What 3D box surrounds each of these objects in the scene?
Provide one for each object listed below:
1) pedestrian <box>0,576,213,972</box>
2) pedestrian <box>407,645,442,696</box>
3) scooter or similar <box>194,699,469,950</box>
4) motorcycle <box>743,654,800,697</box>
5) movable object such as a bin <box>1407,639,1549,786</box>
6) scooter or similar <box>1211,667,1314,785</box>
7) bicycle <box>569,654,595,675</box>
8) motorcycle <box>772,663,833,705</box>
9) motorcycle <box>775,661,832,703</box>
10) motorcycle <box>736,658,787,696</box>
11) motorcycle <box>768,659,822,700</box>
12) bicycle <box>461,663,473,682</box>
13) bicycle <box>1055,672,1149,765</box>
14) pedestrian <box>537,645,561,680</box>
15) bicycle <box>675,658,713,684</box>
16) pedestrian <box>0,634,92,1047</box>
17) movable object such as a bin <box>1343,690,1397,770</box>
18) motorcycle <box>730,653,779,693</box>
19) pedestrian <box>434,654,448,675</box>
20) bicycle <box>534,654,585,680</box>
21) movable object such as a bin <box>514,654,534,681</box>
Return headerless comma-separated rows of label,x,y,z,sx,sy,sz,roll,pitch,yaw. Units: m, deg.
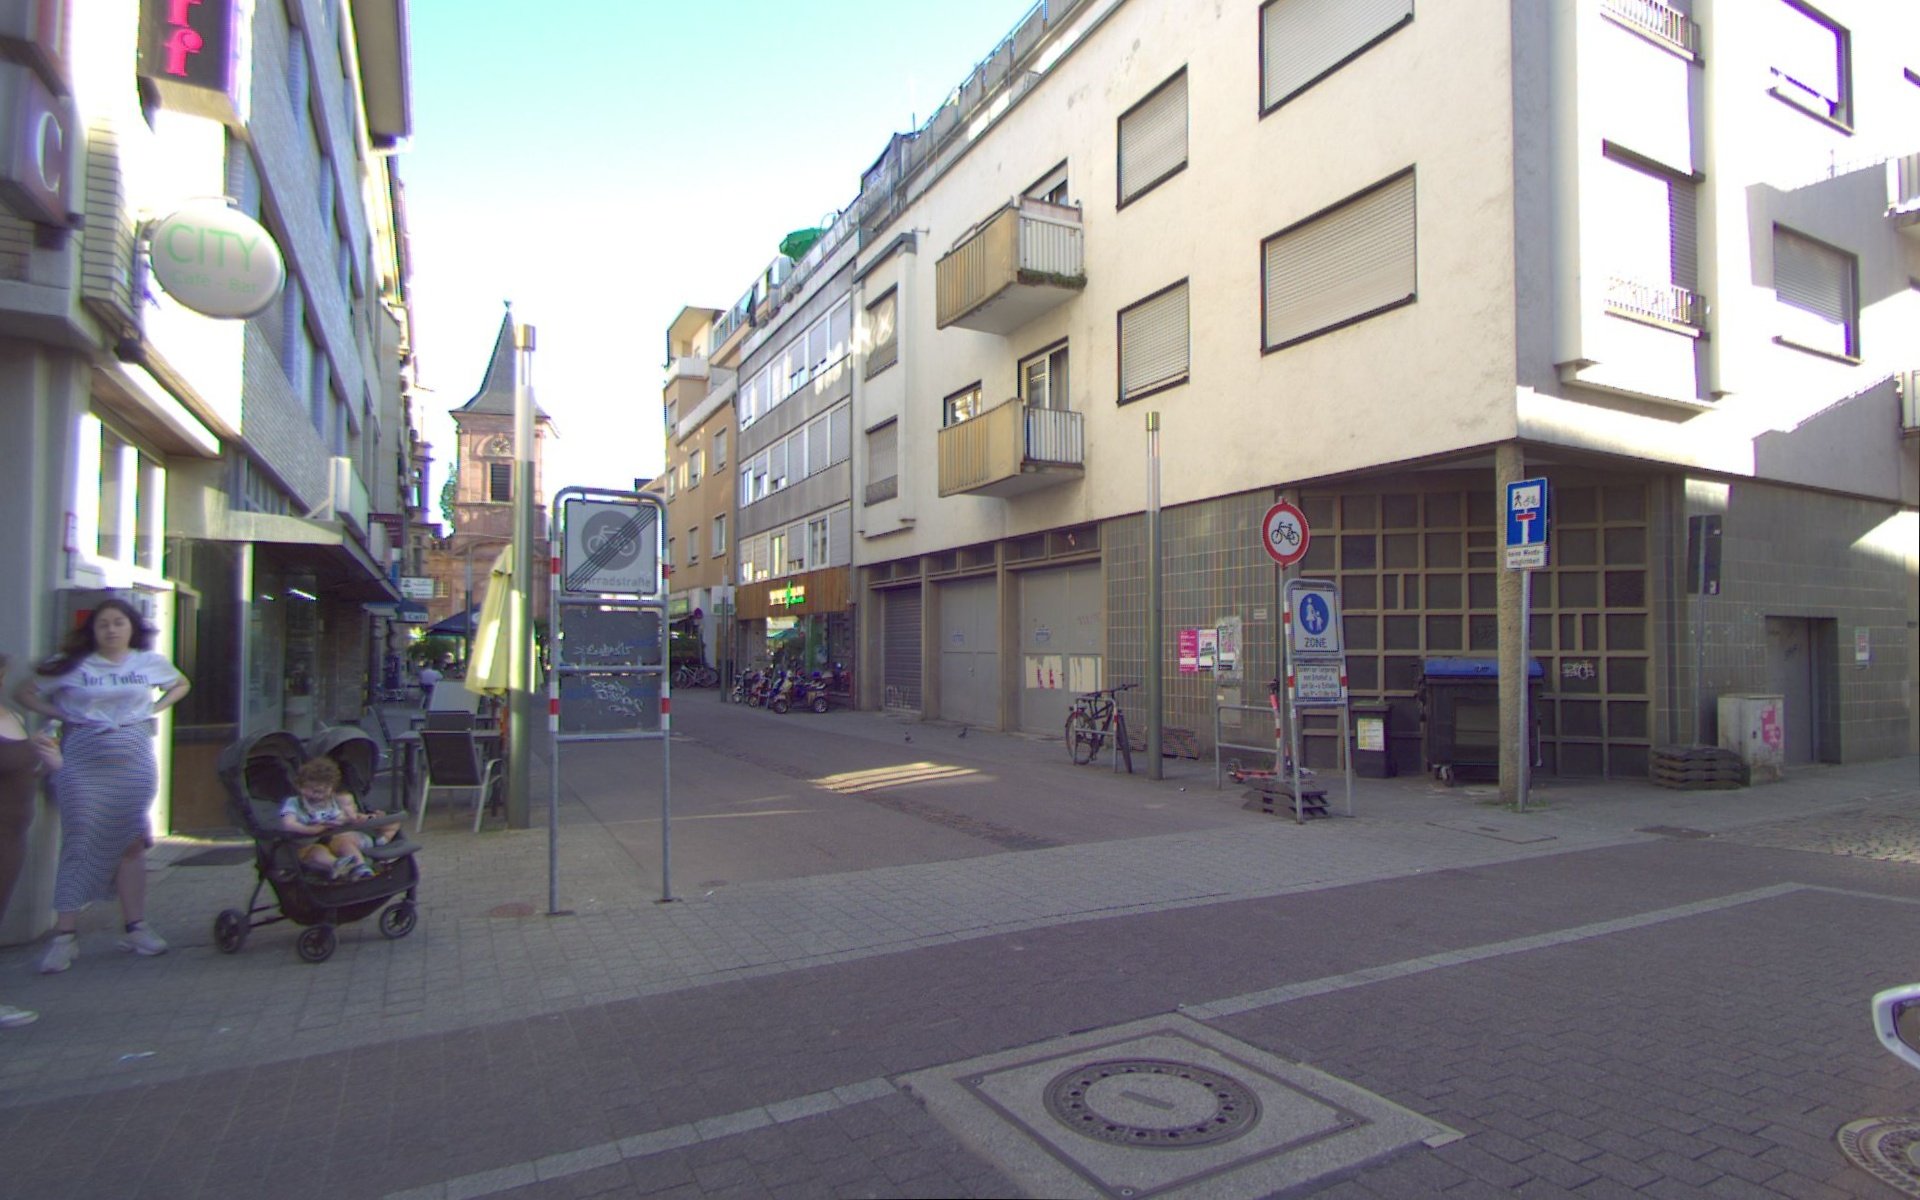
pedestrian,-4.322,0.813,5.104,0.560,1.844,0.659,1,0,29
pedestrian,-14.776,1.945,27.717,0.704,1.386,0.712,2,-3,-40
scooter or similar,-3.354,1.147,5.427,0.934,1.159,0.800,0,-2,14
motorcycle,-5.387,2.160,28.792,1.600,1.190,0.480,0,-3,-10
movable object such as a bin,6.045,1.273,11.827,1.265,1.610,1.156,-1,-2,17
scooter or similar,3.446,1.413,11.519,0.304,1.269,1.229,2,-4,-31
bicycle,-23.810,4.062,63.280,0.359,1.325,1.587,-2,-3,33
motorcycle,-4.075,2.168,25.988,1.541,1.055,0.372,0,-3,-10
motorcycle,-4.184,2.175,26.816,1.494,1.089,0.411,0,-3,-10
motorcycle,-5.852,2.263,29.595,1.462,1.089,0.411,0,-3,-10
motorcycle,-4.564,2.187,27.758,1.462,1.089,0.411,0,-3,-10
bicycle,-23.924,3.493,48.767,0.452,0.861,2.134,1,-3,-24
bicycle,1.864,1.550,13.443,0.441,1.154,1.701,1,-5,-22
pedestrian,-17.614,2.686,43.019,0.875,1.483,0.726,1,-3,-27
bicycle,-10.858,2.881,40.973,1.446,1.018,0.570,1,-3,-21
pedestrian,-4.008,0.945,4.073,0.501,1.601,0.533,1,0,-6
movable object such as a bin,5.067,1.598,12.429,0.530,0.936,0.514,-1,-3,15
motorcycle,-6.370,2.254,31.152,1.463,1.196,0.411,0,-3,-13
pedestrian,-31.135,3.871,60.272,0.692,1.233,0.716,1,-3,-22
bicycle,-15.641,2.616,39.293,1.809,1.018,0.378,2,-3,-31
movable object such as a bin,-17.900,2.753,41.240,0.715,1.088,0.371,1,-3,-30
